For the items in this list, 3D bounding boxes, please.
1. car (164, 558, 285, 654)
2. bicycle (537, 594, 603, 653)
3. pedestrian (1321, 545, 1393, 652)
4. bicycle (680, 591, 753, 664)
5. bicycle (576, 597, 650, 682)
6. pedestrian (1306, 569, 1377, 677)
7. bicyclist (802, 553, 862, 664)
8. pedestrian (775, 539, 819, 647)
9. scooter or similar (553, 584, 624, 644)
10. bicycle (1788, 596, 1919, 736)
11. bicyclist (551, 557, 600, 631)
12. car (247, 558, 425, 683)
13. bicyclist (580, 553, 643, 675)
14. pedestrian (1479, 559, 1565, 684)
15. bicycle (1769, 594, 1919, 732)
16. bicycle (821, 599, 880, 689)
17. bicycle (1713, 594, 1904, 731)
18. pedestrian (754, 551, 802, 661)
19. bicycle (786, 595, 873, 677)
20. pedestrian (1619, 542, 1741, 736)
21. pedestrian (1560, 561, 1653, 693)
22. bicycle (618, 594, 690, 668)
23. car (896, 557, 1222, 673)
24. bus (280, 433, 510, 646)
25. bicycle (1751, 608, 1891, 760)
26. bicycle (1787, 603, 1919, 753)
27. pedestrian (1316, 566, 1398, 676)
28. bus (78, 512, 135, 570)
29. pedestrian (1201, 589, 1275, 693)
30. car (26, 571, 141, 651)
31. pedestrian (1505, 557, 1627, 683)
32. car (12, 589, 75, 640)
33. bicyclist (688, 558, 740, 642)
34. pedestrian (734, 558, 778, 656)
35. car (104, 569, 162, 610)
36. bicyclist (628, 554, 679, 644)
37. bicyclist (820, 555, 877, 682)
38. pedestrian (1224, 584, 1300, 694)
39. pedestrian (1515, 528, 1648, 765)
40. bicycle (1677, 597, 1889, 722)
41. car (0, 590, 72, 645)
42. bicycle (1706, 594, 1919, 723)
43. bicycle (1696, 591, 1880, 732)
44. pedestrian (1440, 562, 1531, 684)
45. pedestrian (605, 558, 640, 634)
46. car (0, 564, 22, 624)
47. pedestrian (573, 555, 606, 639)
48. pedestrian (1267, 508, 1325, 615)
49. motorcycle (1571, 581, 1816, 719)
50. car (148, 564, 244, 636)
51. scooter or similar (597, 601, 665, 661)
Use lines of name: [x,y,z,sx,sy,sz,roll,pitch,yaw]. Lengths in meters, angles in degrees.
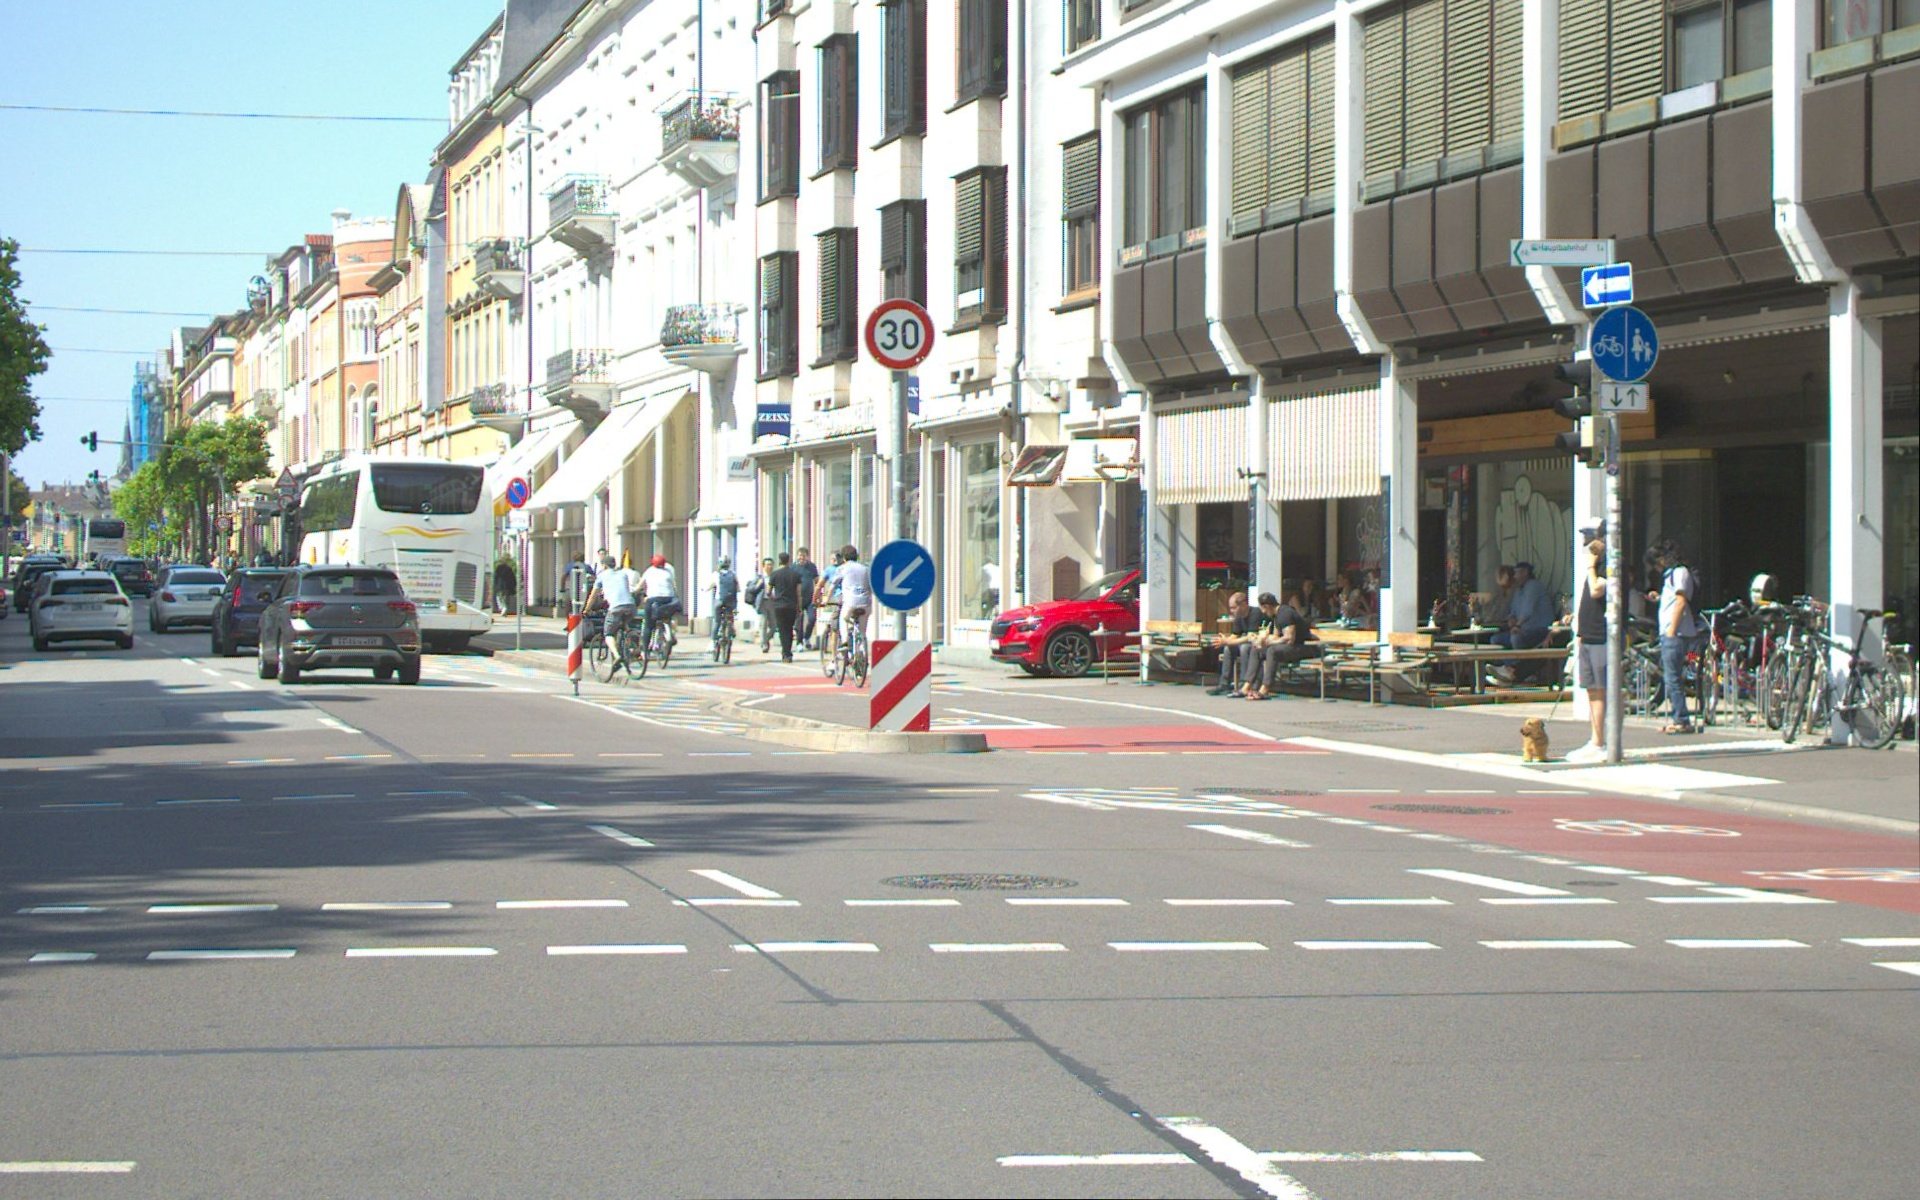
car: [-12.451,0.115,58.068,1.832,1.522,4.001,-2,0,-14]
bicycle: [-7.439,0.436,65.497,0.837,1.095,2.353,1,0,-17]
pedestrian: [5.104,-0.020,44.190,0.744,1.363,0.584,0,0,-16]
bicycle: [-3.821,0.421,53.696,0.620,1.095,2.353,1,0,-17]
bicycle: [-4.956,0.551,48.960,0.664,1.116,2.244,2,1,-15]
pedestrian: [4.834,0.289,43.552,0.760,1.363,0.478,0,0,-16]
bicyclist: [-1.772,0.114,47.553,0.620,1.524,0.869,1,0,-17]
pedestrian: [-2.814,-0.116,59.323,0.694,1.844,0.835,0,-1,-7]
scooter or similar: [-6.884,0.259,63.722,1.121,1.098,1.086,0,0,-17]
bicycle: [7.726,0.535,28.430,1.716,1.116,0.278,-1,1,-8]
bicyclist: [-7.273,-0.116,65.000,0.787,1.374,0.723,1,0,-17]
car: [-8.212,0.257,44.980,1.832,1.522,4.001,1,0,-16]
bicyclist: [-4.958,0.195,48.866,0.694,1.668,0.916,2,1,-14]
pedestrian: [6.304,0.241,38.581,0.711,1.392,0.697,0,-1,-16]
bicycle: [7.662,0.518,28.821,1.716,1.116,0.278,-1,1,-8]
bicycle: [-1.429,0.559,44.551,0.594,1.116,1.801,0,1,-7]
bicycle: [7.222,0.529,29.250,1.570,1.116,0.278,-1,1,-8]
pedestrian: [-2.852,0.095,53.932,0.620,1.714,0.835,0,0,-13]
bicycle: [-1.829,0.488,47.735,0.620,1.095,2.353,1,0,-17]
pedestrian: [6.257,0.339,29.911,0.832,1.657,0.697,-1,-1,-7]
pedestrian: [6.870,0.286,36.551,0.711,1.392,0.697,0,-1,-16]
bicycle: [-4.681,0.467,52.512,0.620,1.095,2.353,1,0,-17]
car: [1.315,0.207,46.460,4.043,1.489,1.842,-1,-2,-14]
bus: [-11.337,-1.156,67.874,2.880,3.729,12.430,2,0,-16]
bicycle: [6.837,0.645,27.393,0.276,1.116,2.244,0,1,-7]
bicycle: [7.171,0.601,27.525,0.276,1.116,2.244,0,1,-7]
pedestrian: [4.975,0.258,43.109,0.876,1.363,0.537,0,0,-16]
bus: [-53.575,-3.707,215.643,2.769,3.593,8.976,0,1,-18]
pedestrian: [3.164,0.468,39.127,0.711,1.169,0.697,0,-1,-7]
car: [-16.507,0.182,64.633,1.862,1.436,4.001,0,1,-18]
pedestrian: [6.597,0.222,37.473,0.895,1.346,1.105,0,-1,-16]
car: [-27.279,0.415,102.275,1.742,1.436,4.001,0,1,-16]
bicyclist: [-3.856,-0.001,53.821,0.620,1.292,0.867,1,0,-17]
pedestrian: [-3.519,0.116,59.261,0.694,1.680,0.835,0,0,-7]
car: [-29.627,-0.387,123.069,1.862,1.436,4.001,0,1,-16]
bicyclist: [-4.699,-0.011,52.638,0.620,1.366,0.781,1,0,-17]
bicyclist: [-1.444,0.238,44.467,0.694,1.620,0.835,0,0,-4]
pedestrian: [3.361,0.434,38.293,0.711,1.213,0.697,0,-1,-7]
pedestrian: [4.866,0.362,26.945,0.832,1.829,0.697,0,-1,-7]
bicycle: [7.436,0.524,31.020,2.235,1.093,0.277,0,1,-29]
car: [-25.162,0.491,93.538,1.862,1.436,4.001,0,-1,-16]
bicycle: [7.633,0.508,30.432,2.235,1.116,0.278,0,1,-22]
bicycle: [7.130,0.529,29.607,1.545,1.203,0.278,0,1,-8]
pedestrian: [6.015,0.263,39.376,0.813,1.392,0.697,0,-1,-17]
pedestrian: [-7.234,-0.079,73.634,0.645,1.612,0.822,0,-1,-12]
car: [-25.278,-0.222,83.340,4.788,1.418,1.881,2,1,25]
pedestrian: [-7.843,-0.054,72.719,0.573,1.772,1.020,0,-1,-12]
pedestrian: [4.296,-0.490,43.963,0.535,1.363,0.689,0,0,-15]
motorcycle: [7.006,0.479,32.849,2.237,1.286,0.948,-1,-1,13]
car: [-17.055,0.020,76.601,1.832,1.522,4.001,-2,0,-16]
scooter or similar: [-5.356,0.498,55.918,0.865,0.953,1.213,1,0,-17]
